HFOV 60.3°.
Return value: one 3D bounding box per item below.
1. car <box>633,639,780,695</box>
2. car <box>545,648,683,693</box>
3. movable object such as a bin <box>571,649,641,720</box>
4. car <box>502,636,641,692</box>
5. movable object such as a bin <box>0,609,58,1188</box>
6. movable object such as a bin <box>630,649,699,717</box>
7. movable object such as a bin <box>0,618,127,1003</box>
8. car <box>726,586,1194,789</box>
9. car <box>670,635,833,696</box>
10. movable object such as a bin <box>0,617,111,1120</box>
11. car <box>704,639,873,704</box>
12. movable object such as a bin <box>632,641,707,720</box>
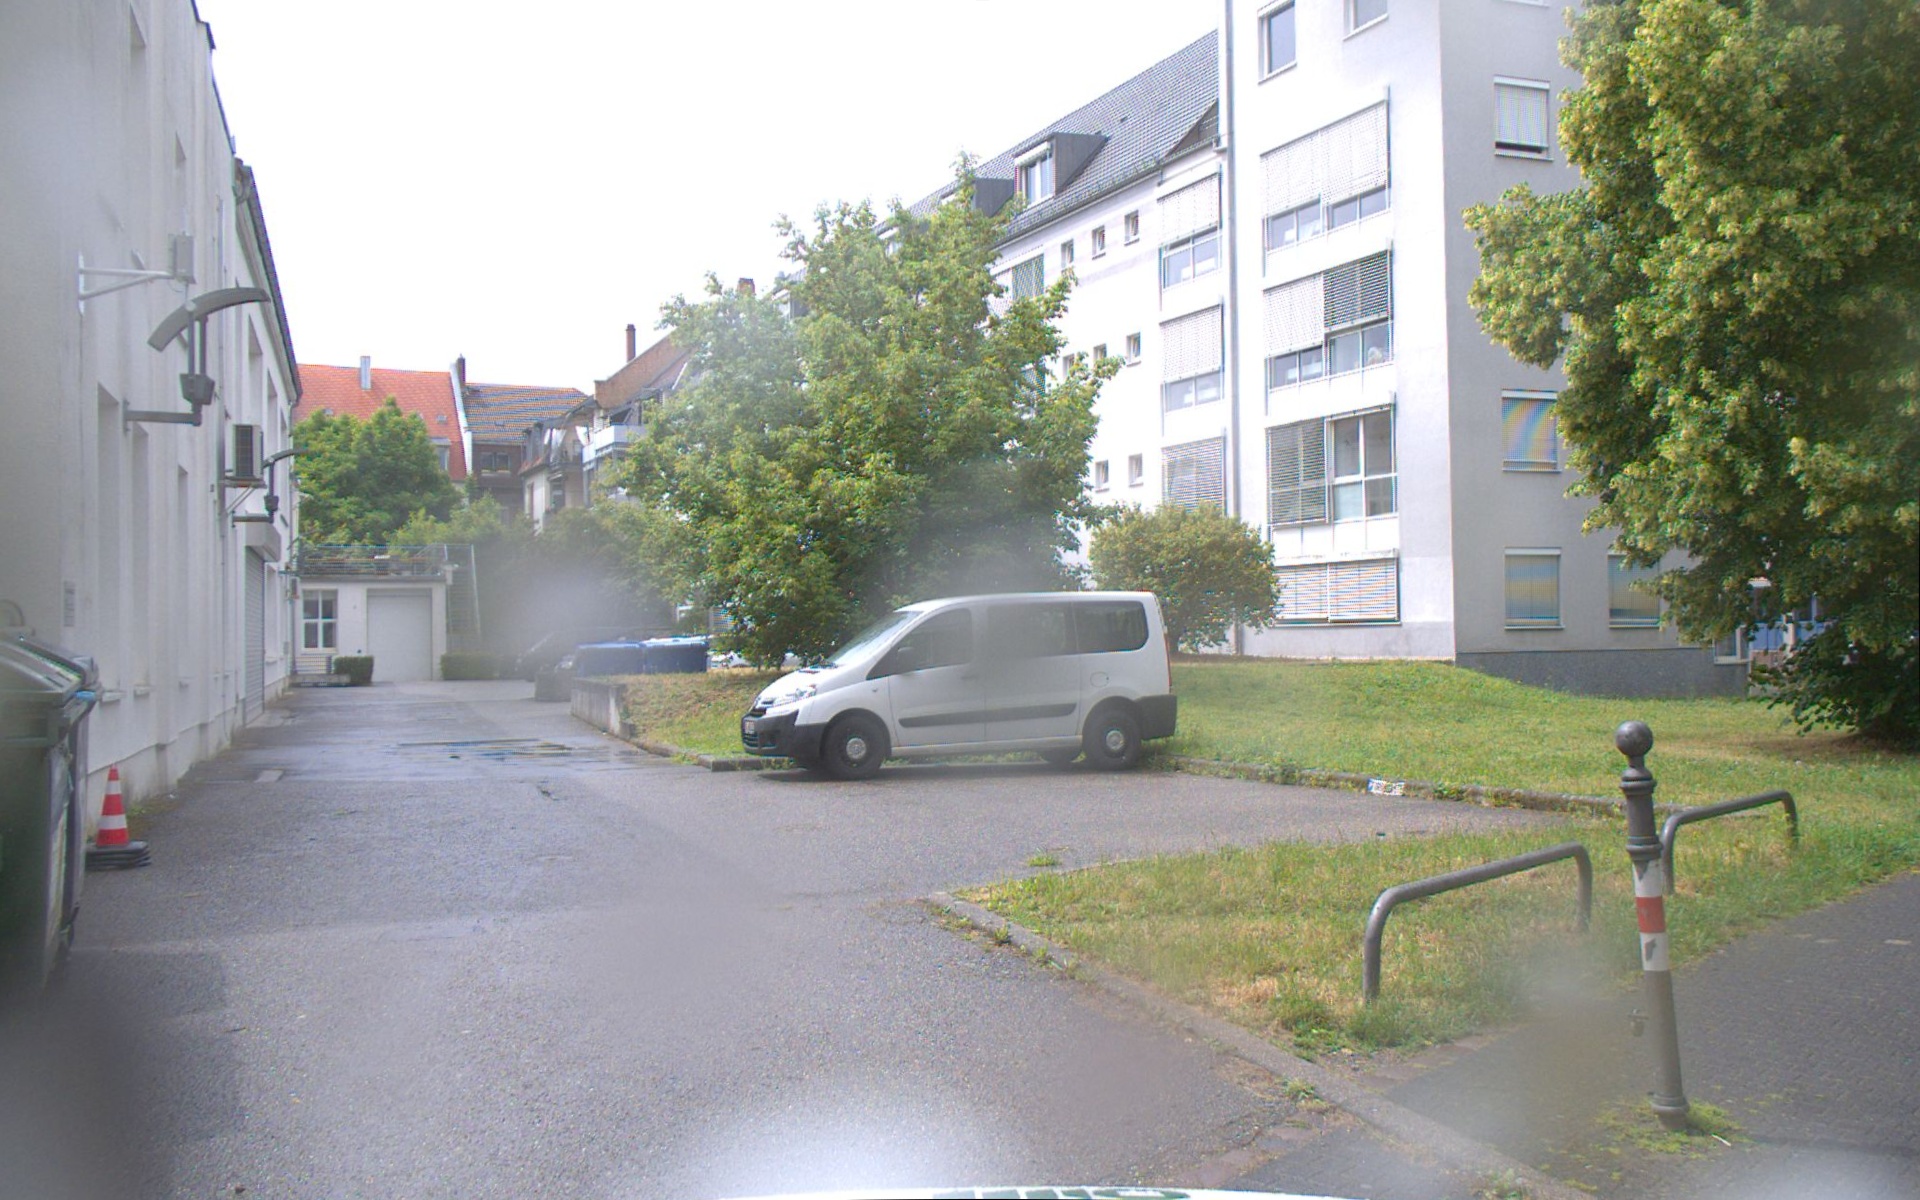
[{"bbox_3d":[-7.652,2.007,49.907,4.046,1.481,1.818,-1,-1,-25],"label":"car"},{"bbox_3d":[-11.836,2.374,56.572,4.303,1.372,1.843,-1,-1,-28],"label":"car"},{"bbox_3d":[-6.893,1.638,32.188,1.157,1.340,1.049,1,-1,-21],"label":"movable object such as a bin"},{"bbox_3d":[-14.478,2.358,61.682,4.655,1.865,2.091,-2,-1,-28],"label":"car"},{"bbox_3d":[-3.109,0.760,4.083,1.340,1.496,1.343,1,-1,-21],"label":"movable object such as a bin"},{"bbox_3d":[-6.144,1.714,34.359,1.212,1.340,1.049,-1,-1,-21],"label":"movable object such as a bin"},{"bbox_3d":[-4.333,0.818,6.920,1.340,1.496,1.357,1,-1,-21],"label":"movable object such as a bin"},{"bbox_3d":[-0.033,0.911,18.403,4.860,2.049,1.990,0,-2,-18],"label":"car"},{"bbox_3d":[-5.621,1.764,44.636,4.028,1.483,1.655,-1,-2,-25],"label":"car"},{"bbox_3d":[-3.611,0.798,5.366,1.340,1.496,1.357,1,-1,-21],"label":"movable object such as a bin"},{"bbox_3d":[-4.373,1.800,42.176,3.931,1.378,1.779,-3,-1,-22],"label":"car"},{"bbox_3d":[-5.737,1.583,32.627,1.257,1.509,1.094,1,-1,-21],"label":"movable object such as a bin"}]
